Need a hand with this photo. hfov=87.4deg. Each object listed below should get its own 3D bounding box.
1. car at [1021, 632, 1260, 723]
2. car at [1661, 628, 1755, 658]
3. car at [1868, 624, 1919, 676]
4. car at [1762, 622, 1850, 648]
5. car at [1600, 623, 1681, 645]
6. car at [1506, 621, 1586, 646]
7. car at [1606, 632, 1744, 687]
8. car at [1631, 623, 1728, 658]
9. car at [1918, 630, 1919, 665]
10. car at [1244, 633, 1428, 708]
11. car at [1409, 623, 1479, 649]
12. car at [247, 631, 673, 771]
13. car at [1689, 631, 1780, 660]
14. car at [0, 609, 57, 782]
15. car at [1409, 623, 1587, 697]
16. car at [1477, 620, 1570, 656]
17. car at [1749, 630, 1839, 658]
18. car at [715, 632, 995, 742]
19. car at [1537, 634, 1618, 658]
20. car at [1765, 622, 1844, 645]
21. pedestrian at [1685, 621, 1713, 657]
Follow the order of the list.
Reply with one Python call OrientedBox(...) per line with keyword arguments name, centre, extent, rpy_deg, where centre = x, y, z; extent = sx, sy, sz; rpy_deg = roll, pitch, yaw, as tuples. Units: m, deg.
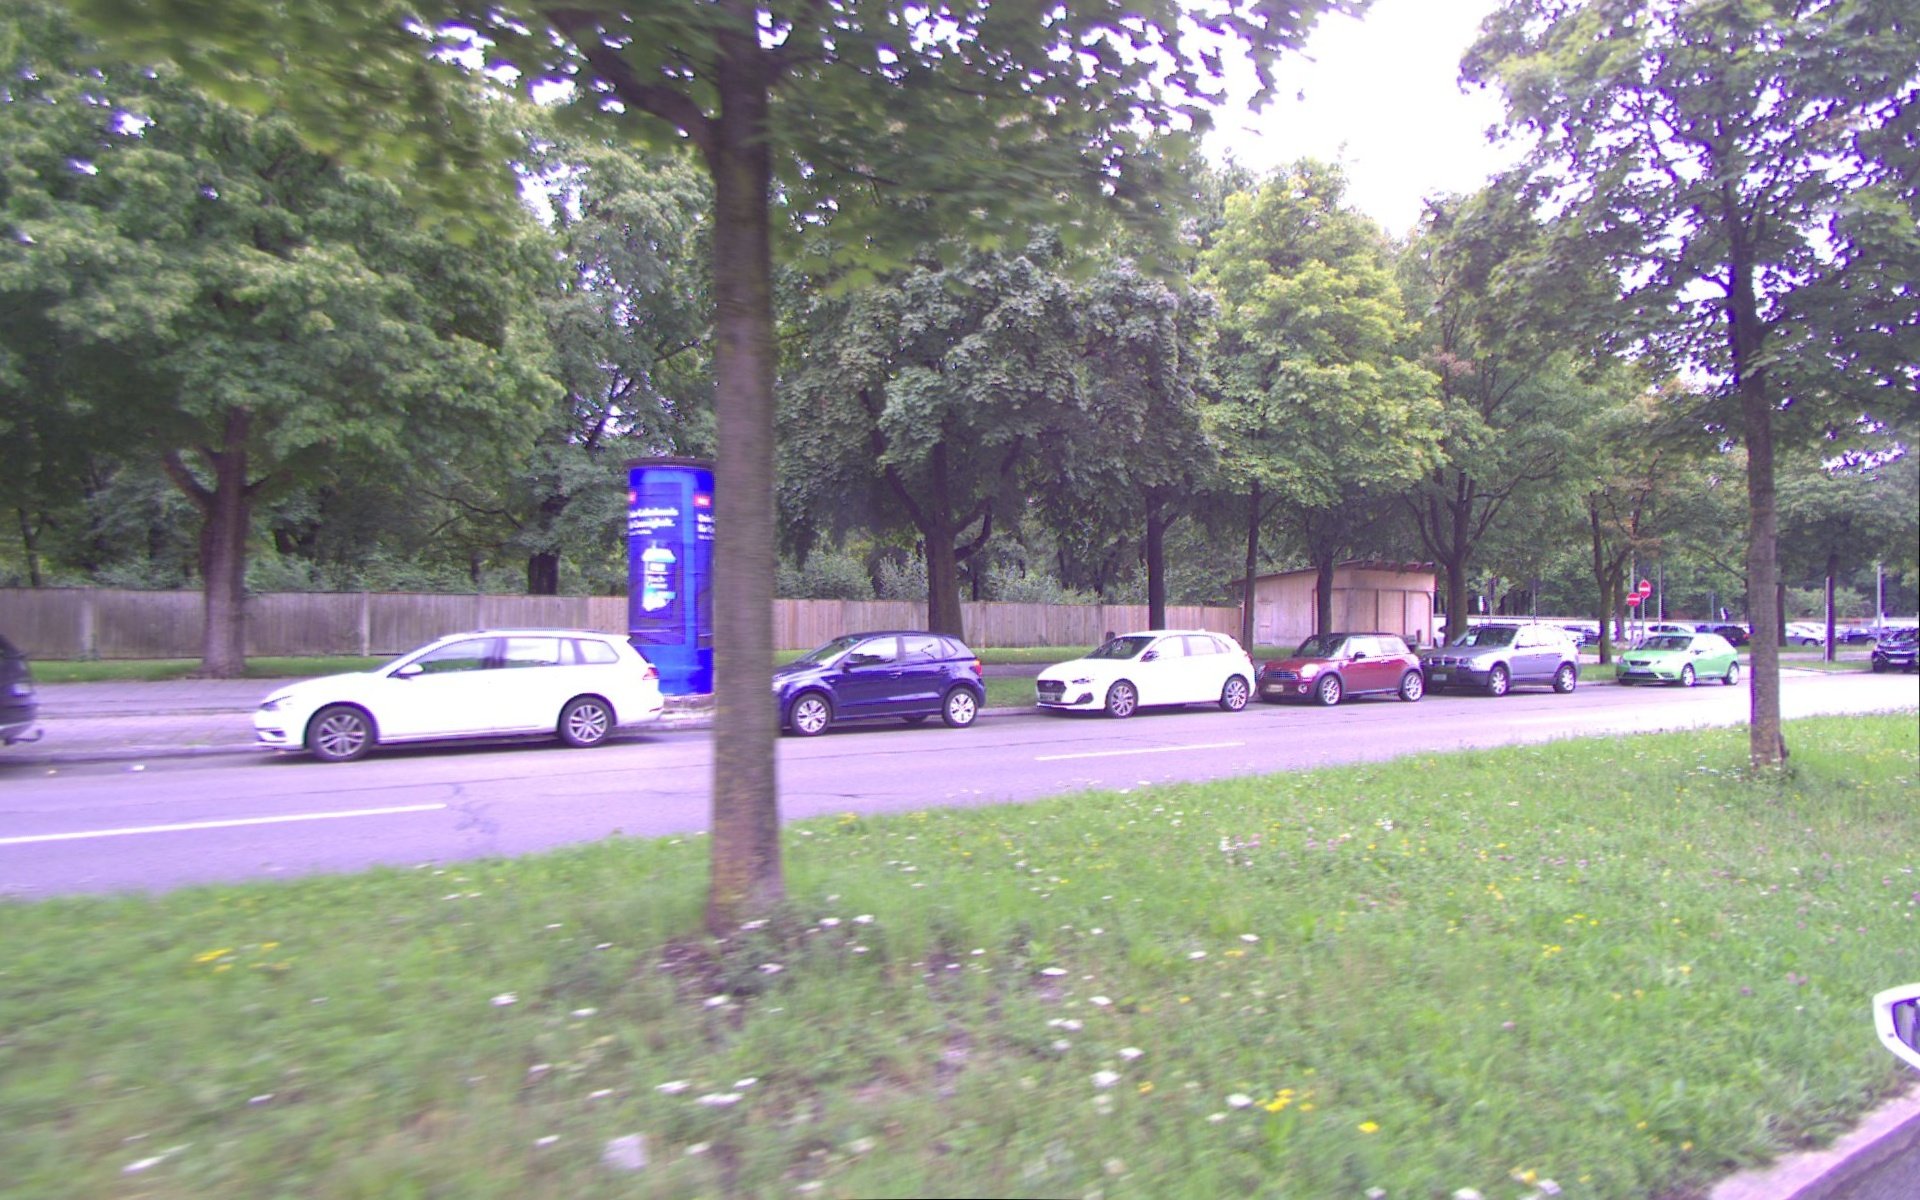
OrientedBox(name="car", centre=(3.288, 1.316, 18.076), extent=(4.228, 1.463, 1.600), rpy_deg=(1, -2, -30))
OrientedBox(name="car", centre=(41.030, 2.341, 55.161), extent=(1.656, 1.465, 3.841), rpy_deg=(1, 0, -34))
OrientedBox(name="car", centre=(34.556, 1.776, 36.161), extent=(3.834, 1.764, 1.708), rpy_deg=(1, 0, -31))
OrientedBox(name="car", centre=(51.903, 2.145, 61.691), extent=(1.656, 1.465, 3.841), rpy_deg=(1, 0, -34))
OrientedBox(name="car", centre=(49.611, 2.464, 73.374), extent=(1.652, 1.465, 4.671), rpy_deg=(1, 0, -28))
OrientedBox(name="car", centre=(40.025, 2.279, 68.684), extent=(1.652, 1.496, 4.487), rpy_deg=(2, 0, -28))
OrientedBox(name="car", centre=(19.755, 1.609, 27.731), extent=(3.829, 1.428, 1.542), rpy_deg=(1, -2, -28))
OrientedBox(name="car", centre=(38.531, 2.140, 53.833), extent=(1.656, 1.740, 3.893), rpy_deg=(1, 0, -34))
OrientedBox(name="car", centre=(38.965, 1.888, 39.109), extent=(3.342, 1.329, 1.583), rpy_deg=(1, 0, -31))
OrientedBox(name="car", centre=(7.733, 1.398, 20.647), extent=(3.585, 1.415, 1.584), rpy_deg=(1, -2, -28))
OrientedBox(name="car", centre=(25.198, 1.844, 52.469), extent=(1.639, 1.217, 4.421), rpy_deg=(2, 0, 2))
OrientedBox(name="car", centre=(-6.058, 1.137, 12.556), extent=(4.480, 1.469, 1.754), rpy_deg=(1, -2, -31))
OrientedBox(name="car", centre=(44.484, 2.569, 57.746), extent=(1.656, 1.465, 3.841), rpy_deg=(1, 0, -34))
OrientedBox(name="car", centre=(-11.494, 0.924, 9.403), extent=(4.206, 1.667, 1.728), rpy_deg=(1, -2, -31))
OrientedBox(name="car", centre=(12.653, 1.362, 23.568), extent=(4.320, 1.607, 1.683), rpy_deg=(1, -2, -31))
OrientedBox(name="car", centre=(25.691, 1.717, 45.981), extent=(1.922, 1.465, 4.421), rpy_deg=(2, 0, 2))
OrientedBox(name="car", centre=(49.454, 2.574, 59.626), extent=(1.656, 1.465, 3.841), rpy_deg=(1, 0, -34))
OrientedBox(name="car", centre=(-1.520, 1.208, 14.956), extent=(3.855, 1.436, 1.604), rpy_deg=(1, -2, -32))
OrientedBox(name="car", centre=(43.396, 3.226, 70.685), extent=(1.652, 1.465, 4.671), rpy_deg=(1, 0, -28))
OrientedBox(name="car", centre=(57.922, 2.285, 68.945), extent=(1.656, 1.465, 3.841), rpy_deg=(1, 0, -34))
OrientedBox(name="pedestrian", centre=(32.385, 1.718, 44.031), extent=(0.712, 1.554, 0.724), rpy_deg=(1, 0, -29))
